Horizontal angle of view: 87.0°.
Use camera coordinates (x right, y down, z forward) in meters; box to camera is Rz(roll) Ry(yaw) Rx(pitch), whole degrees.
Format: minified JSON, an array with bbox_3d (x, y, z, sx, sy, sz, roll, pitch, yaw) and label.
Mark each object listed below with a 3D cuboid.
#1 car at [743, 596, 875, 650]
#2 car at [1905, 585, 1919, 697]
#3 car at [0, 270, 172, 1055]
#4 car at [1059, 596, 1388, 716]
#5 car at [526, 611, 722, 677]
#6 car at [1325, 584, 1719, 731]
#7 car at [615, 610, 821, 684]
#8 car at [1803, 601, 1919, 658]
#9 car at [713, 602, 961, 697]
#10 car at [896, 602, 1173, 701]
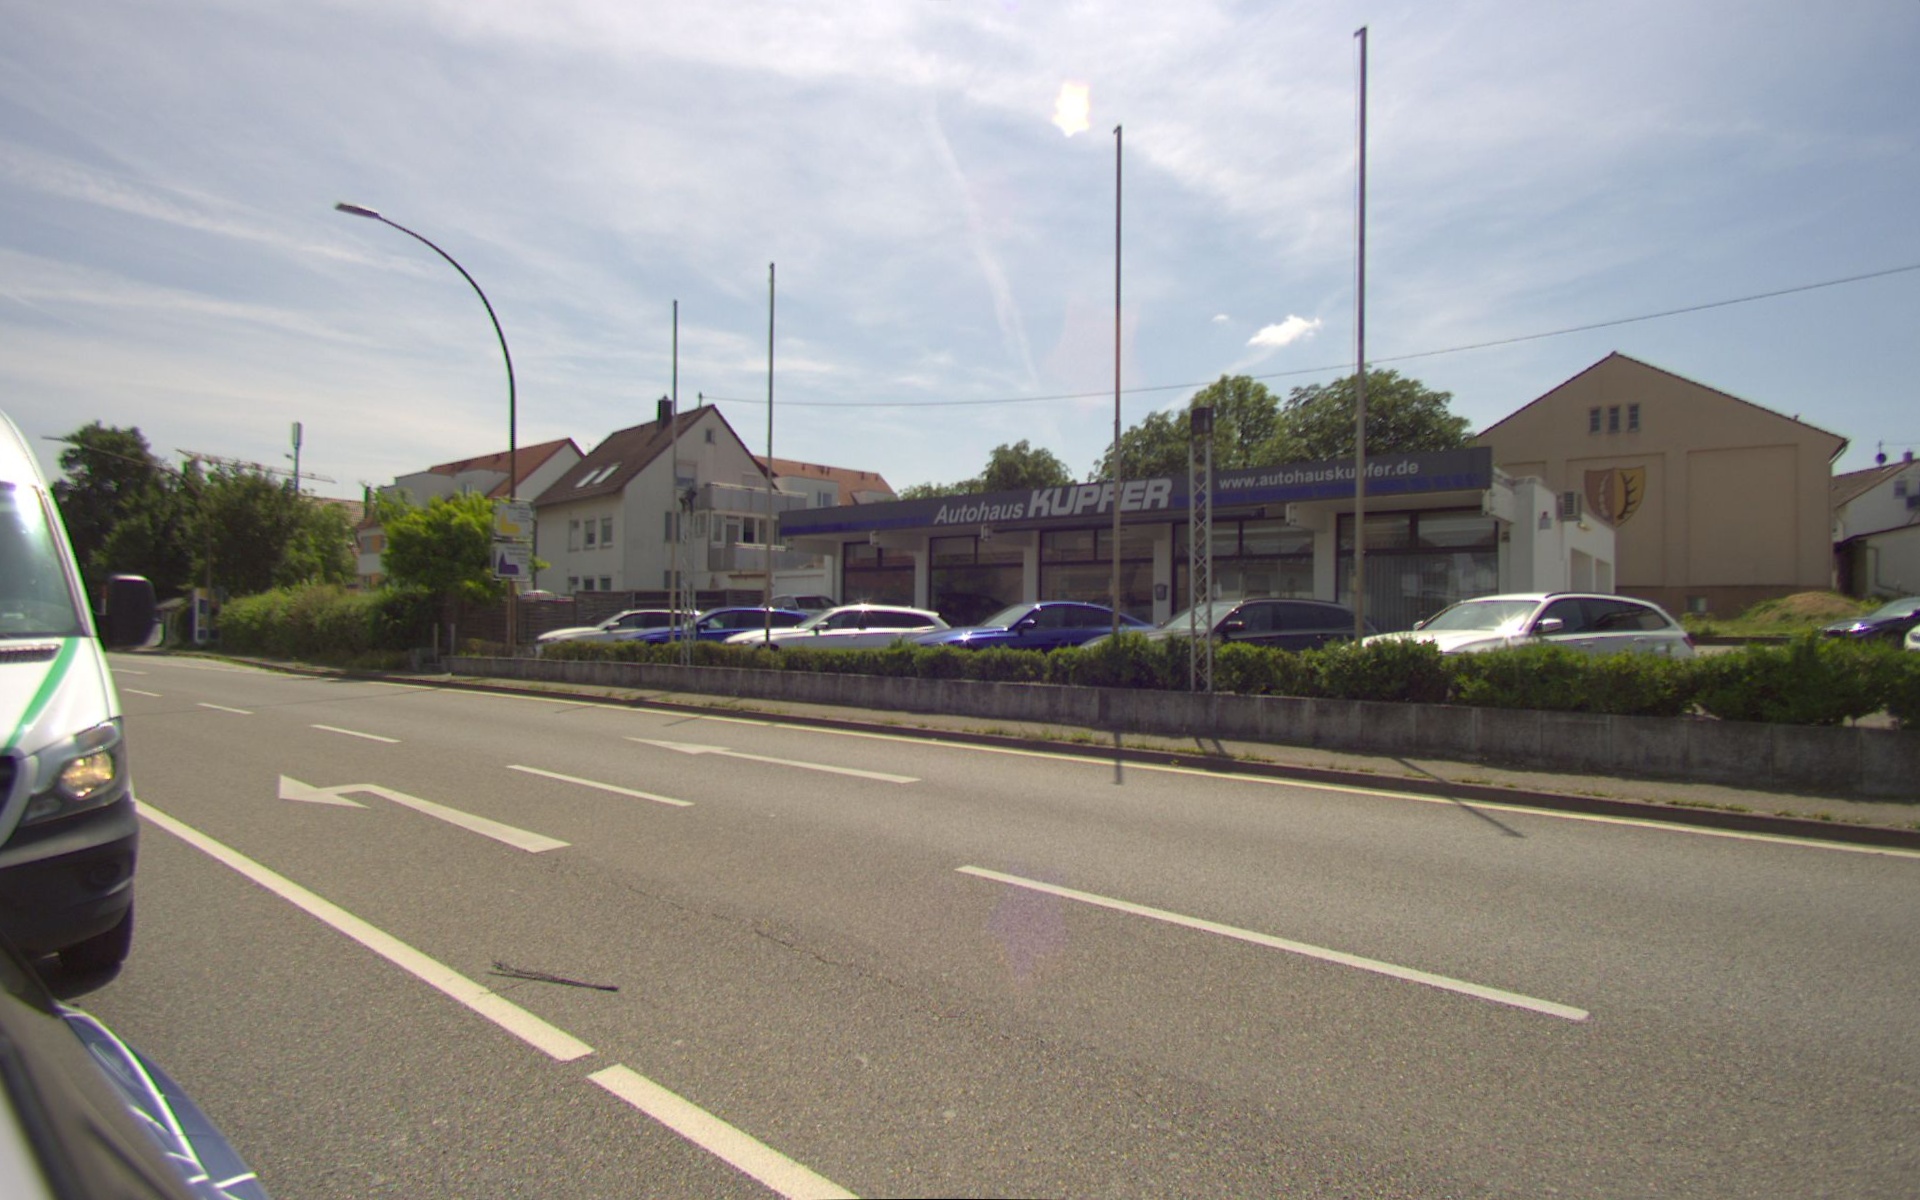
[{"bbox_3d":[-4.629,0.681,30.453,1.781,1.475,4.589,-1,0,-40],"label":"car"},{"bbox_3d":[15.069,0.522,14.256,3.934,1.521,1.839,-1,-1,-36],"label":"car"},{"bbox_3d":[-5.624,0.247,4.764,5.745,2.548,1.914,-1,-1,40],"label":"car"},{"bbox_3d":[3.745,0.692,14.392,4.267,1.458,1.905,-1,0,-24],"label":"car"},{"bbox_3d":[-8.377,1.048,25.362,4.501,1.458,1.863,-1,0,-21],"label":"car"},{"bbox_3d":[6.617,0.563,11.900,4.267,1.458,1.863,-1,0,-24],"label":"car"},{"bbox_3d":[-5.409,0.988,22.566,4.267,1.458,1.863,-1,0,-21],"label":"car"},{"bbox_3d":[23.398,0.686,24.759,3.946,1.231,1.791,-2,0,2],"label":"car"},{"bbox_3d":[-2.412,0.885,19.711,4.438,1.458,1.863,-3,1,-19],"label":"car"},{"bbox_3d":[1.257,0.787,17.129,4.267,1.458,1.863,-1,0,-23],"label":"car"}]
